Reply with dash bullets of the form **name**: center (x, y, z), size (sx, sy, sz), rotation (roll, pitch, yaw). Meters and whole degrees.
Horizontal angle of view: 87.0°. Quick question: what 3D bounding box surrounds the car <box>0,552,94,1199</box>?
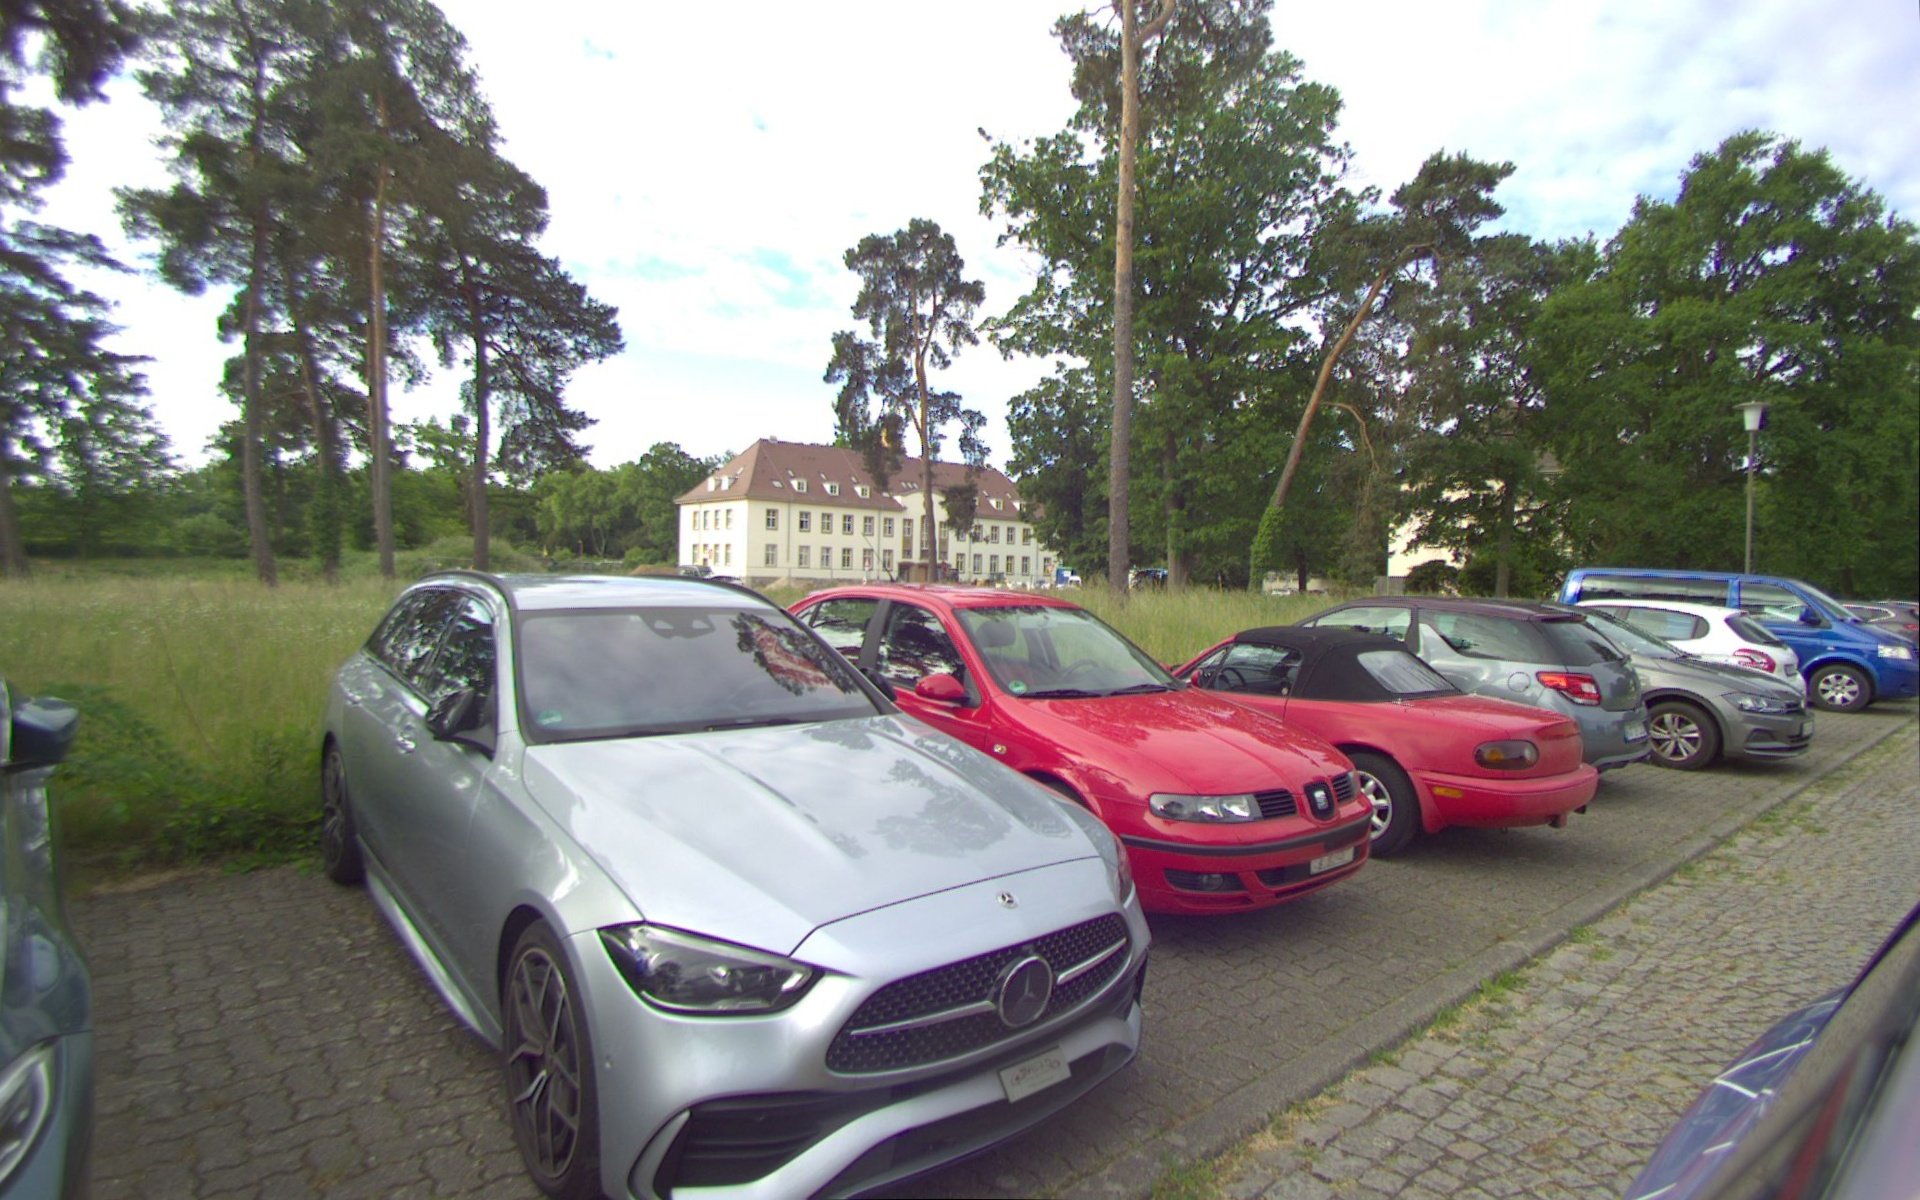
- **car**: center (-3.356, 0.623, 2.412), size (1.732, 1.501, 4.763), rotation (1, 2, -43)

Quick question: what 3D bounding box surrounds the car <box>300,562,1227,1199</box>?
- **car**: center (-1.414, 0.639, 4.325), size (1.780, 1.501, 4.767), rotation (1, 2, -40)

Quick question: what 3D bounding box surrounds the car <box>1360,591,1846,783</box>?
- **car**: center (6.423, 0.712, 10.472), size (1.787, 1.474, 3.850), rotation (1, 2, -38)

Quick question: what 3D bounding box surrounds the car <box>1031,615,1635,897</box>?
- **car**: center (2.264, 0.805, 6.892), size (1.468, 1.222, 3.600), rotation (1, 1, -39)

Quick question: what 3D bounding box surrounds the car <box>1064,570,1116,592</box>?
- **car**: center (13.052, -1.908, 101.424), size (5.128, 2.038, 2.154), rotation (0, 2, -38)

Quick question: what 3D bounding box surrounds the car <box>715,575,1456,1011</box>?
- **car**: center (0.357, 0.653, 5.685), size (1.768, 1.470, 3.970), rotation (1, 2, -40)

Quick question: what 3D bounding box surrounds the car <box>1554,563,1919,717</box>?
- **car**: center (12.385, 0.494, 15.977), size (1.965, 1.962, 4.747), rotation (1, 3, -41)

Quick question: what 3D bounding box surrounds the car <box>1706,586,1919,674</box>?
- **car**: center (18.864, 0.591, 21.917), size (1.965, 1.630, 3.996), rotation (1, 2, -40)

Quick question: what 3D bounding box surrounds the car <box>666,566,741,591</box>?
- **car**: center (-15.973, -1.328, 63.098), size (4.178, 1.433, 1.887), rotation (0, 2, -37)

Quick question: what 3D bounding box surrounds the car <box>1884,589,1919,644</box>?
- **car**: center (37.484, 0.669, 37.899), size (1.964, 2.038, 3.997), rotation (1, 2, -39)

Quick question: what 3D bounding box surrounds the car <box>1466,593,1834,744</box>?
- **car**: center (8.362, 0.714, 12.476), size (1.608, 1.470, 3.408), rotation (1, 2, -39)

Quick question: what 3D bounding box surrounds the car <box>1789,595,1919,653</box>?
- **car**: center (26.348, 0.651, 28.784), size (1.965, 1.549, 3.995), rotation (1, 0, -40)

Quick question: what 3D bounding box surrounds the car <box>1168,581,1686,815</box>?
- **car**: center (3.948, 0.654, 9.006), size (1.768, 1.524, 3.782), rotation (1, 2, -42)

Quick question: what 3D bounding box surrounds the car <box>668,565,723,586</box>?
- **car**: center (-26.800, -2.487, 102.457), size (6.171, 1.882, 2.304), rotation (3, 2, 41)

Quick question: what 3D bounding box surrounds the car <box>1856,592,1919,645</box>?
- **car**: center (34.077, 0.676, 35.239), size (1.964, 1.784, 4.007), rotation (1, 2, -39)
